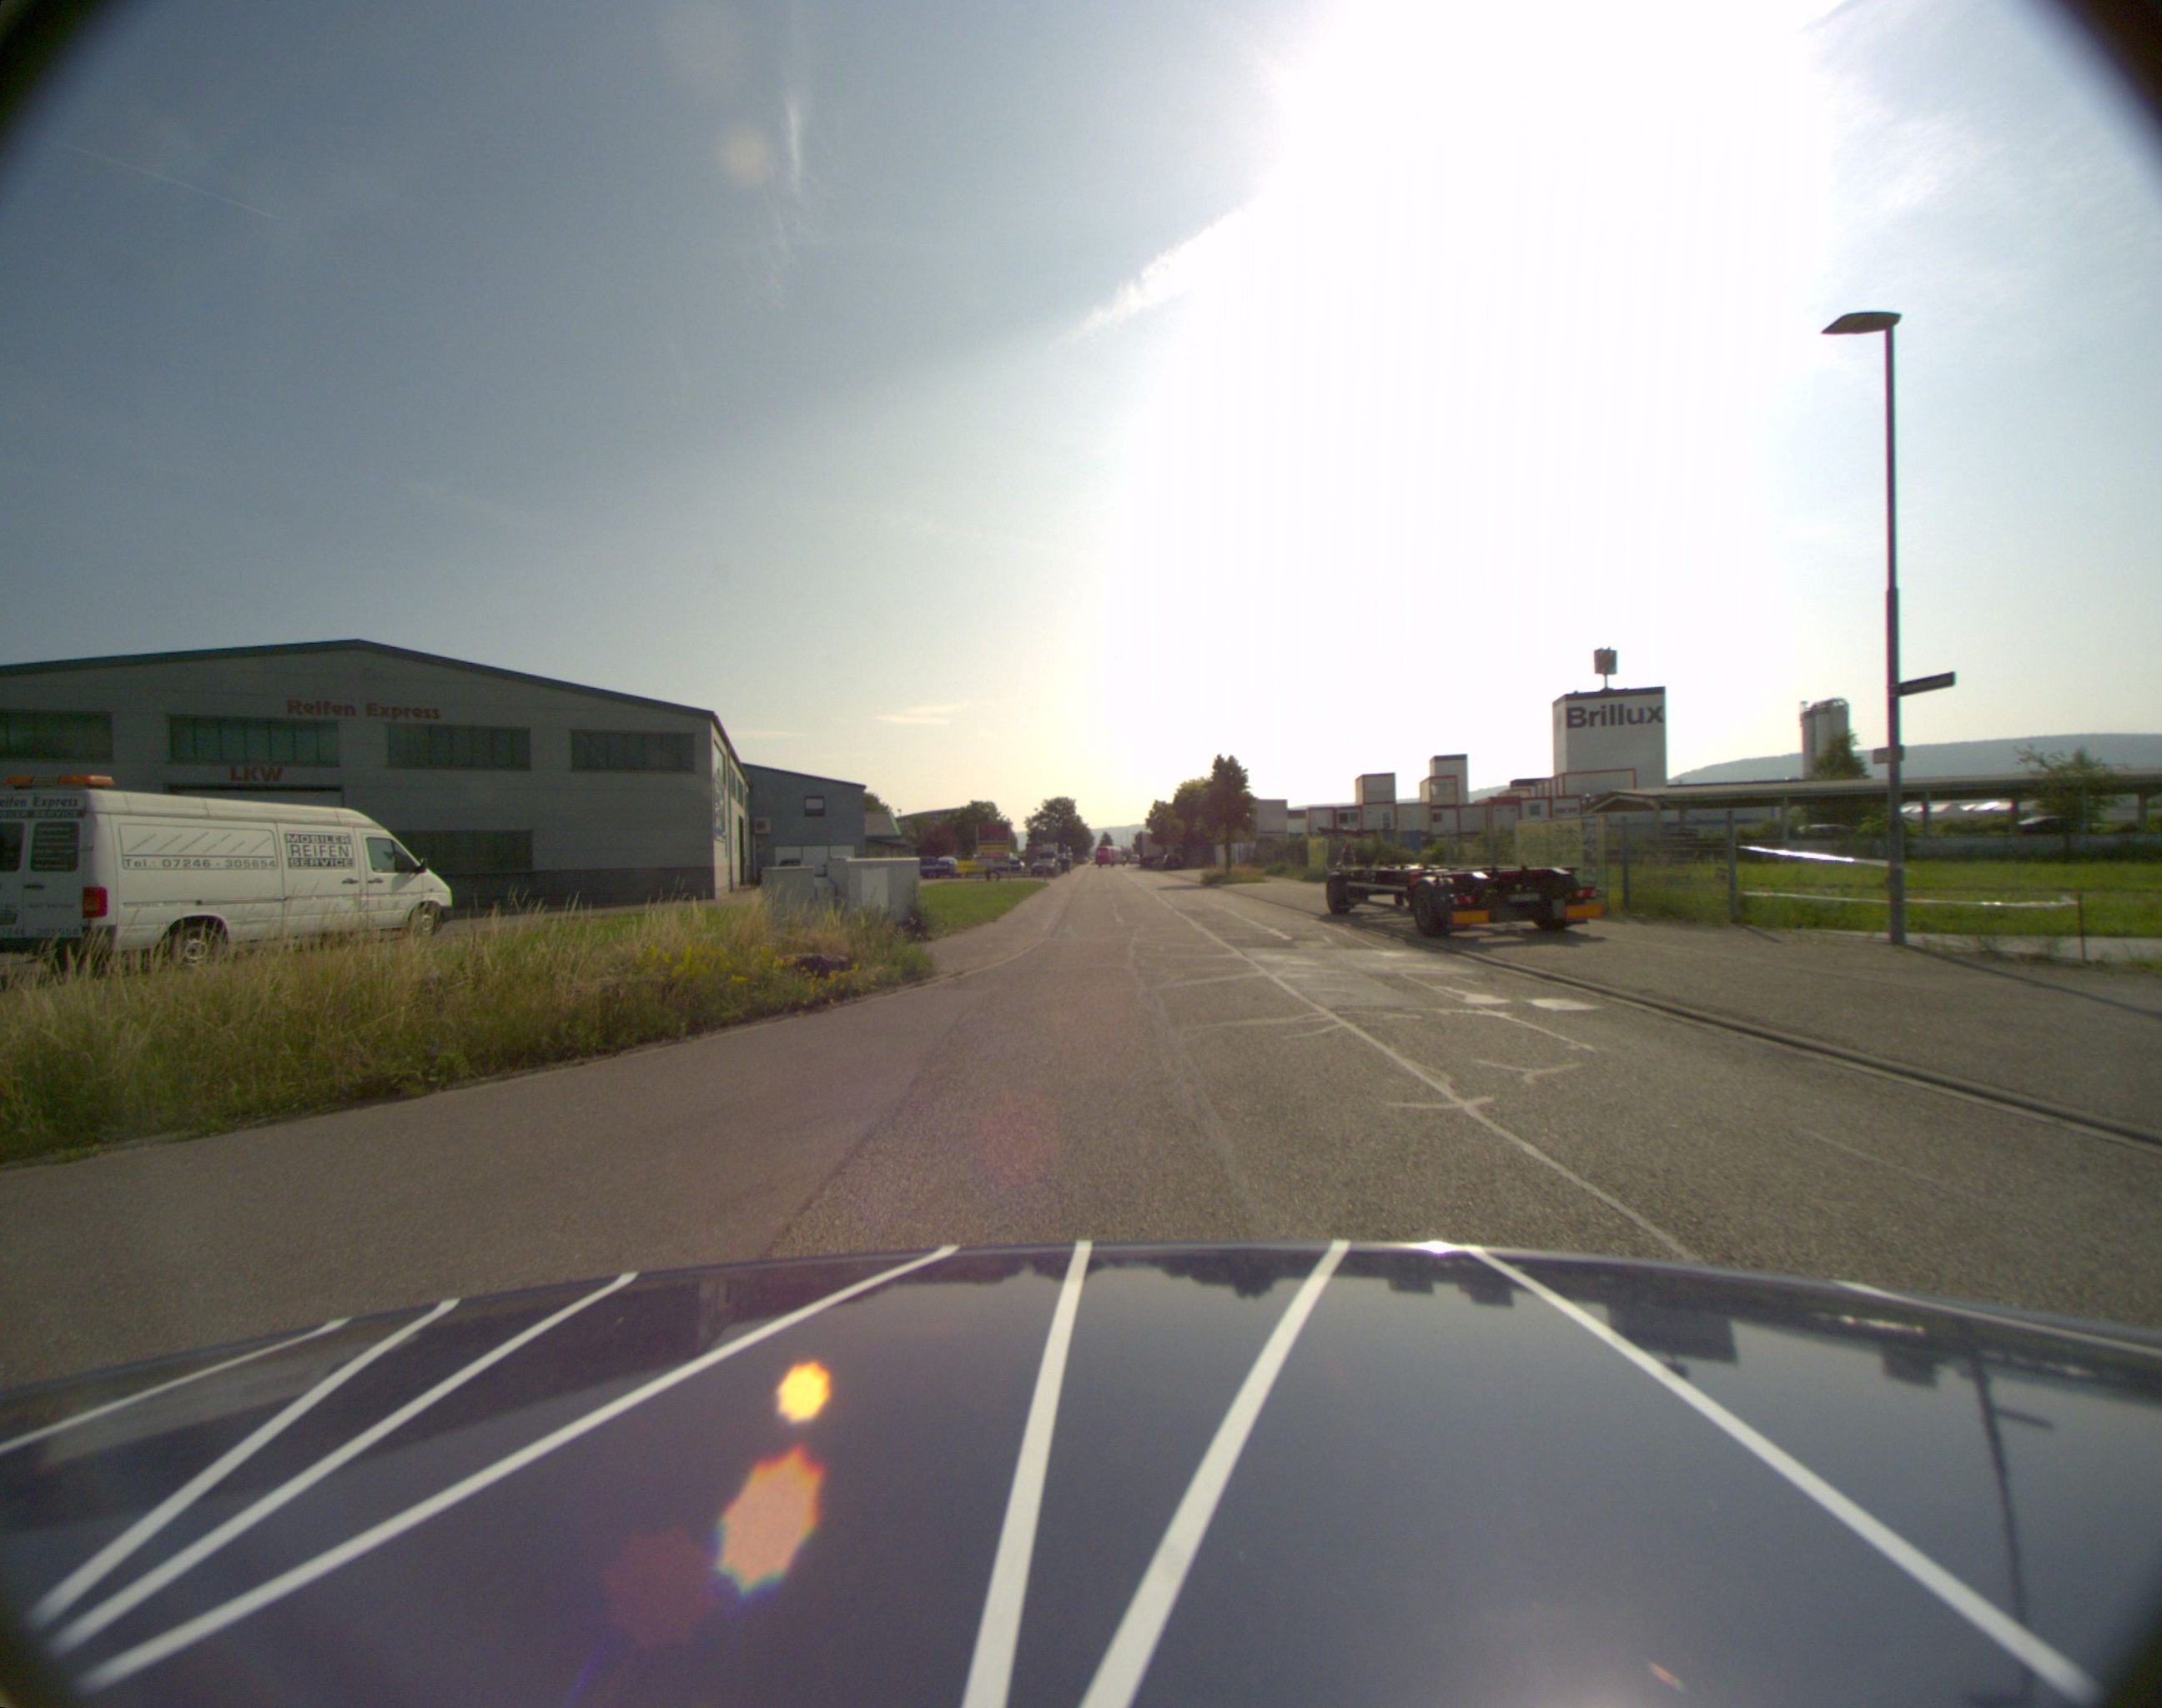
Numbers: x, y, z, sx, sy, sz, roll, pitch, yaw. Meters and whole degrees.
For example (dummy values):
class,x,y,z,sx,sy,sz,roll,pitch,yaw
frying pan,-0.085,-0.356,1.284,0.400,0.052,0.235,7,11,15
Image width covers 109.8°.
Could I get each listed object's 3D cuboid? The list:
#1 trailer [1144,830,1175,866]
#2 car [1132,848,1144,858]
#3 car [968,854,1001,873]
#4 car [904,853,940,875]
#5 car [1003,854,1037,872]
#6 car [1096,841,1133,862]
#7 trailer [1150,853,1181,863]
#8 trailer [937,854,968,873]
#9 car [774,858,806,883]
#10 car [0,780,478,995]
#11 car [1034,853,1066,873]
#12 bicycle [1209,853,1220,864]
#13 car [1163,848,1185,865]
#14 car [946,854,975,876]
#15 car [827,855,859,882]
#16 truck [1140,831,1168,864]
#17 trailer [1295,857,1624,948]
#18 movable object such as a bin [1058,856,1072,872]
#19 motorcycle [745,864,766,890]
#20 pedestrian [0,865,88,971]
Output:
class,x,y,z,sx,sy,sz,roll,pitch,yaw
trailer,9.057,-0.666,88.334,2.706,3.862,9.765,-3,0,2
car,9.976,-0.182,132.808,1.816,1.617,4.249,-1,0,1
car,-8.332,0.830,65.479,1.722,1.563,4.125,-2,0,-23
car,-11.235,0.696,53.380,1.646,1.457,4.452,-2,0,-23
car,-5.418,0.762,66.789,1.695,1.457,4.254,-2,0,-23
car,4.430,-0.383,99.312,2.276,2.524,6.756,-3,0,24
trailer,8.883,0.411,80.308,2.655,0.979,6.243,-1,0,1
trailer,-9.101,0.699,53.804,1.496,1.241,2.972,-3,0,-22
car,-17.268,0.933,45.209,1.683,1.394,3.705,-2,0,-20
car,-13.437,0.415,12.538,1.979,2.690,5.881,-1,0,3
car,-2.277,0.652,56.874,1.677,1.361,4.395,-1,0,6
bicycle,11.889,0.389,67.921,0.563,0.967,2.452,-1,0,1
car,8.333,0.238,68.233,1.691,1.461,4.094,-1,0,3
car,-10.254,0.910,64.464,1.646,1.710,3.208,-2,0,-23
car,-14.620,0.850,46.625,1.641,1.559,3.799,-2,0,-20
truck,9.295,-0.814,97.834,2.719,3.862,9.636,-3,0,2
trailer,7.195,0.773,16.489,2.589,1.177,9.362,-3,0,1
movable object such as a bin,-1.336,0.839,63.943,1.083,1.345,1.506,1,1,4
motorcycle,-14.555,1.004,34.050,0.804,1.088,2.198,-2,1,-23
pedestrian,-16.802,1.002,12.235,0.703,1.630,0.750,-1,1,18
